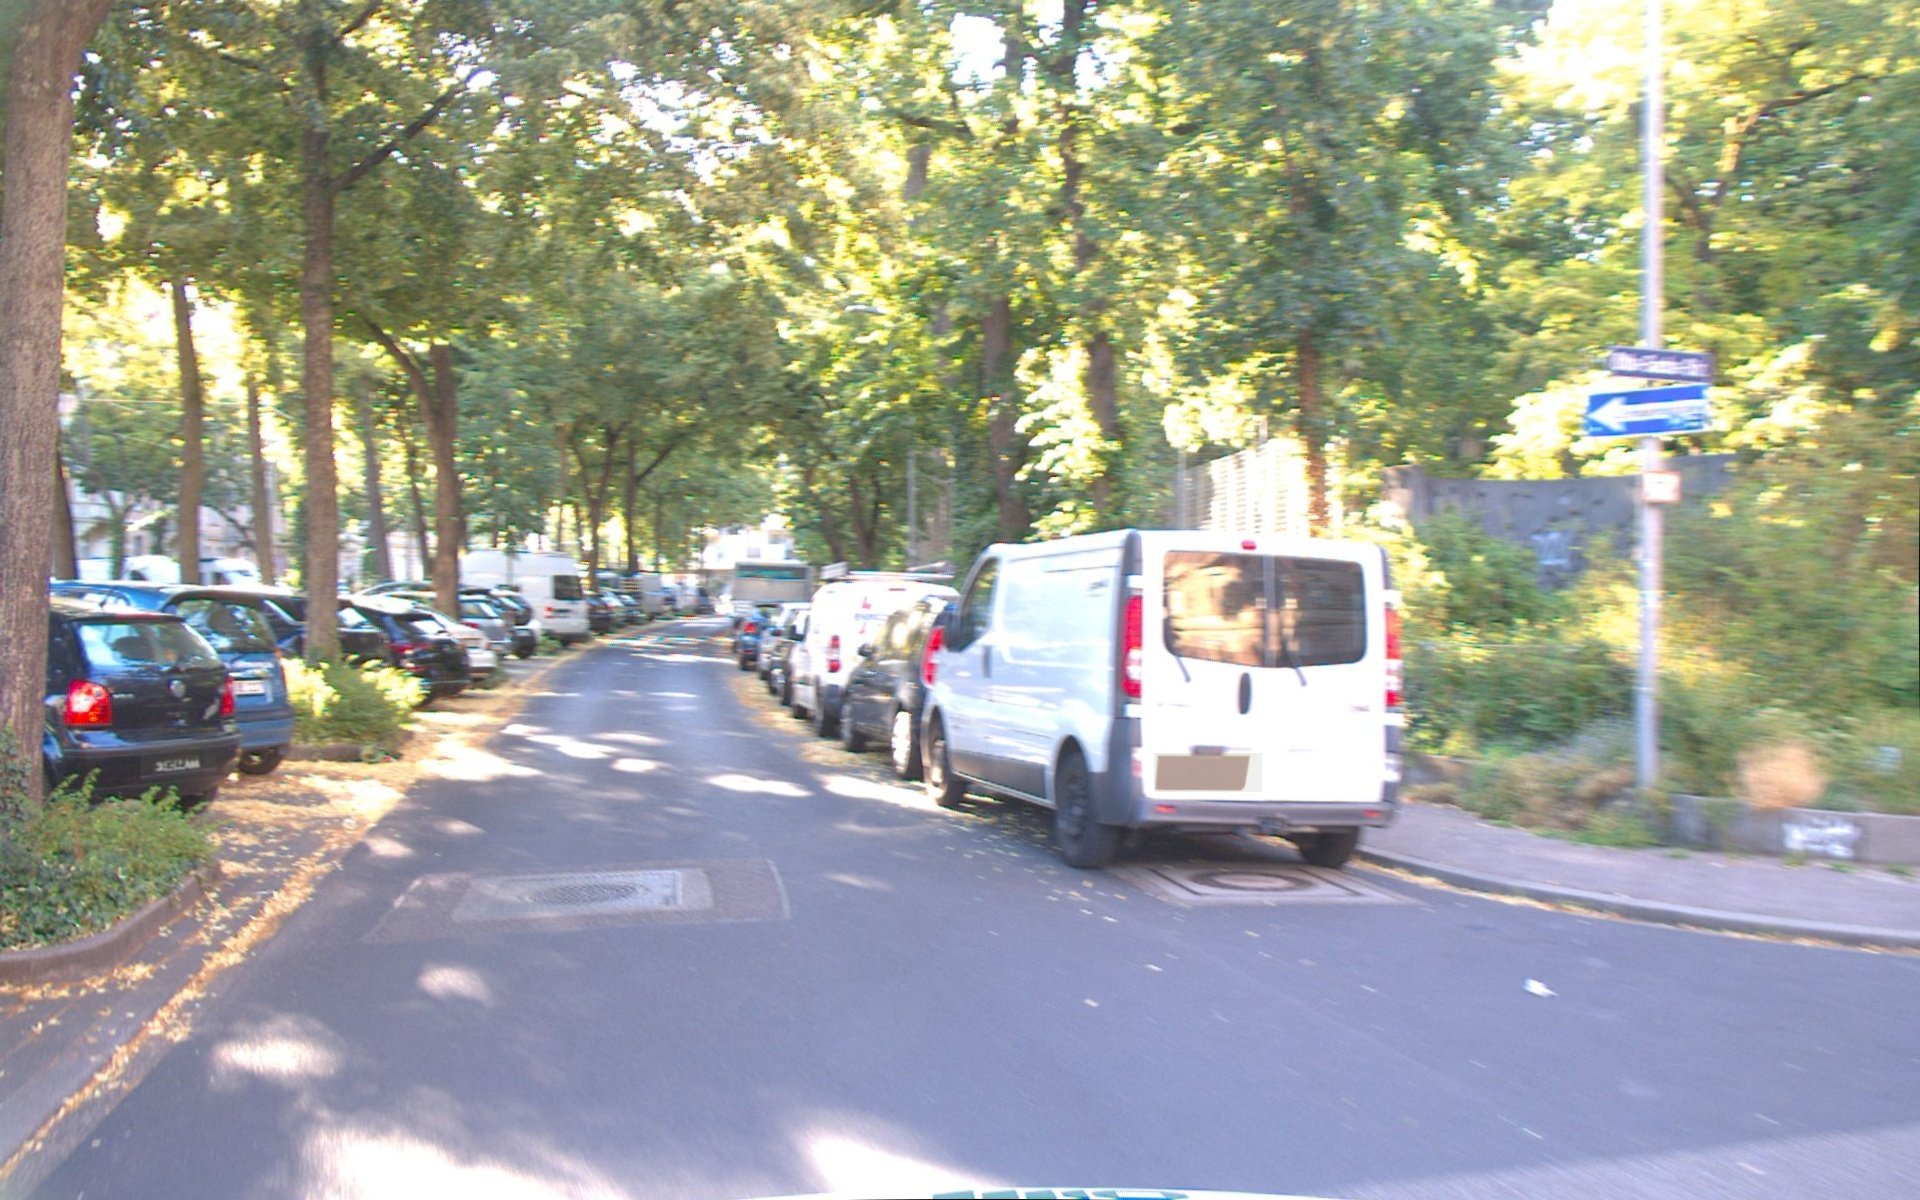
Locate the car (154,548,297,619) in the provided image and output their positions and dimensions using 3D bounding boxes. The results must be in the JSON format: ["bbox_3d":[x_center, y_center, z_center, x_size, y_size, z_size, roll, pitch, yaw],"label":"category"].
[{"bbox_3d":[-30.458,-0.694,68.599,5.143,2.616,2.274,-3,1,20],"label":"car"}]

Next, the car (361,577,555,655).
[{"bbox_3d":[-11.289,0.368,37.327,3.736,1.507,1.739,3,-1,11],"label":"car"}]

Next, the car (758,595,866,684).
[{"bbox_3d":[-2.743,0.669,30.121,1.543,1.493,3.590,0,1,-12],"label":"car"}]

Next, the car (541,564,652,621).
[{"bbox_3d":[-14.862,-0.305,67.605,3.997,2.075,1.819,3,-1,23],"label":"car"}]

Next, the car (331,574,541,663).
[{"bbox_3d":[-10.992,0.384,34.795,3.736,1.615,1.739,3,-1,11],"label":"car"}]

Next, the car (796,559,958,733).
[{"bbox_3d":[-1.113,0.492,20.457,1.542,1.937,3.893,0,1,-10],"label":"car"}]

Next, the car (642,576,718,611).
[{"bbox_3d":[-16.560,-0.400,97.706,3.997,1.820,1.819,3,-1,23],"label":"car"}]

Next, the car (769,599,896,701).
[{"bbox_3d":[-2.010,0.709,25.344,1.543,1.410,3.591,0,1,-11],"label":"car"}]

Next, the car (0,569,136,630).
[{"bbox_3d":[-29.261,-0.013,53.938,4.140,1.728,1.858,-3,1,20],"label":"car"}]

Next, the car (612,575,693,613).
[{"bbox_3d":[-17.116,-0.337,92.056,3.997,1.820,1.819,3,-1,23],"label":"car"}]

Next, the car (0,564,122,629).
[{"bbox_3d":[-27.203,-0.074,48.960,4.140,1.728,1.858,-3,1,20],"label":"car"}]

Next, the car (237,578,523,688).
[{"bbox_3d":[-8.921,0.500,25.557,3.736,1.415,1.739,3,-1,11],"label":"car"}]

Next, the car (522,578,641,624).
[{"bbox_3d":[-14.290,0.036,62.428,3.997,1.499,1.819,3,-1,23],"label":"car"}]

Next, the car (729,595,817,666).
[{"bbox_3d":[-4.051,0.625,35.502,1.543,1.409,3.590,0,1,-12],"label":"car"}]

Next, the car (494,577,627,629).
[{"bbox_3d":[-13.420,0.092,55.604,3.997,1.499,1.819,3,-1,23],"label":"car"}]

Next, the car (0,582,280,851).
[{"bbox_3d":[-6.580,0.641,10.961,3.531,1.472,1.609,3,1,15],"label":"car"}]

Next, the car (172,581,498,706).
[{"bbox_3d":[-8.479,0.576,22.567,3.736,1.415,1.739,3,-1,11],"label":"car"}]

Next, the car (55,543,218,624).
[{"bbox_3d":[-29.848,-0.607,59.978,5.143,2.616,2.274,-3,1,20],"label":"car"}]

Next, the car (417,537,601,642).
[{"bbox_3d":[-11.950,-0.279,43.801,4.395,2.519,1.819,3,-1,23],"label":"car"}]

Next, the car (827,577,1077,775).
[{"bbox_3d":[-0.198,0.622,15.930,1.545,1.666,3.697,0,1,-15],"label":"car"}]

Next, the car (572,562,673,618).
[{"bbox_3d":[-15.064,-0.430,73.824,3.997,2.248,1.819,3,-1,23],"label":"car"}]

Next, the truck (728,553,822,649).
[{"bbox_3d":[-4.899,0.012,43.363,2.322,2.393,4.376,0,0,-8],"label":"truck"}]

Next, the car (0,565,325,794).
[{"bbox_3d":[-7.352,0.572,13.774,3.531,1.589,1.609,3,1,15],"label":"car"}]

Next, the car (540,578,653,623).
[{"bbox_3d":[-14.310,0.022,65.113,3.997,1.499,1.819,3,-1,23],"label":"car"}]

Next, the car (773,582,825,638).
[{"bbox_3d":[-5.007,0.278,51.322,1.541,1.677,3.596,0,1,-6],"label":"car"}]

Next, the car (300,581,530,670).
[{"bbox_3d":[-10.399,0.484,31.640,3.736,1.446,1.739,3,-1,11],"label":"car"}]

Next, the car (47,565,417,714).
[{"bbox_3d":[-8.844,0.467,20.213,3.736,1.523,1.739,3,-1,11],"label":"car"}]

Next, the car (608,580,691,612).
[{"bbox_3d":[-16.748,-0.207,89.199,3.997,1.499,1.819,3,-1,23],"label":"car"}]

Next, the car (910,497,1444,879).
[{"bbox_3d":[1.174,0.463,11.338,1.913,2.038,4.639,1,0,-16],"label":"car"}]

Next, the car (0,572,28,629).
[{"bbox_3d":[-27.670,0.137,44.885,4.140,1.498,1.858,-3,1,20],"label":"car"}]

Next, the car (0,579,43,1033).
[{"bbox_3d":[-5.192,0.611,5.507,3.646,1.547,1.608,3,1,17],"label":"car"}]
